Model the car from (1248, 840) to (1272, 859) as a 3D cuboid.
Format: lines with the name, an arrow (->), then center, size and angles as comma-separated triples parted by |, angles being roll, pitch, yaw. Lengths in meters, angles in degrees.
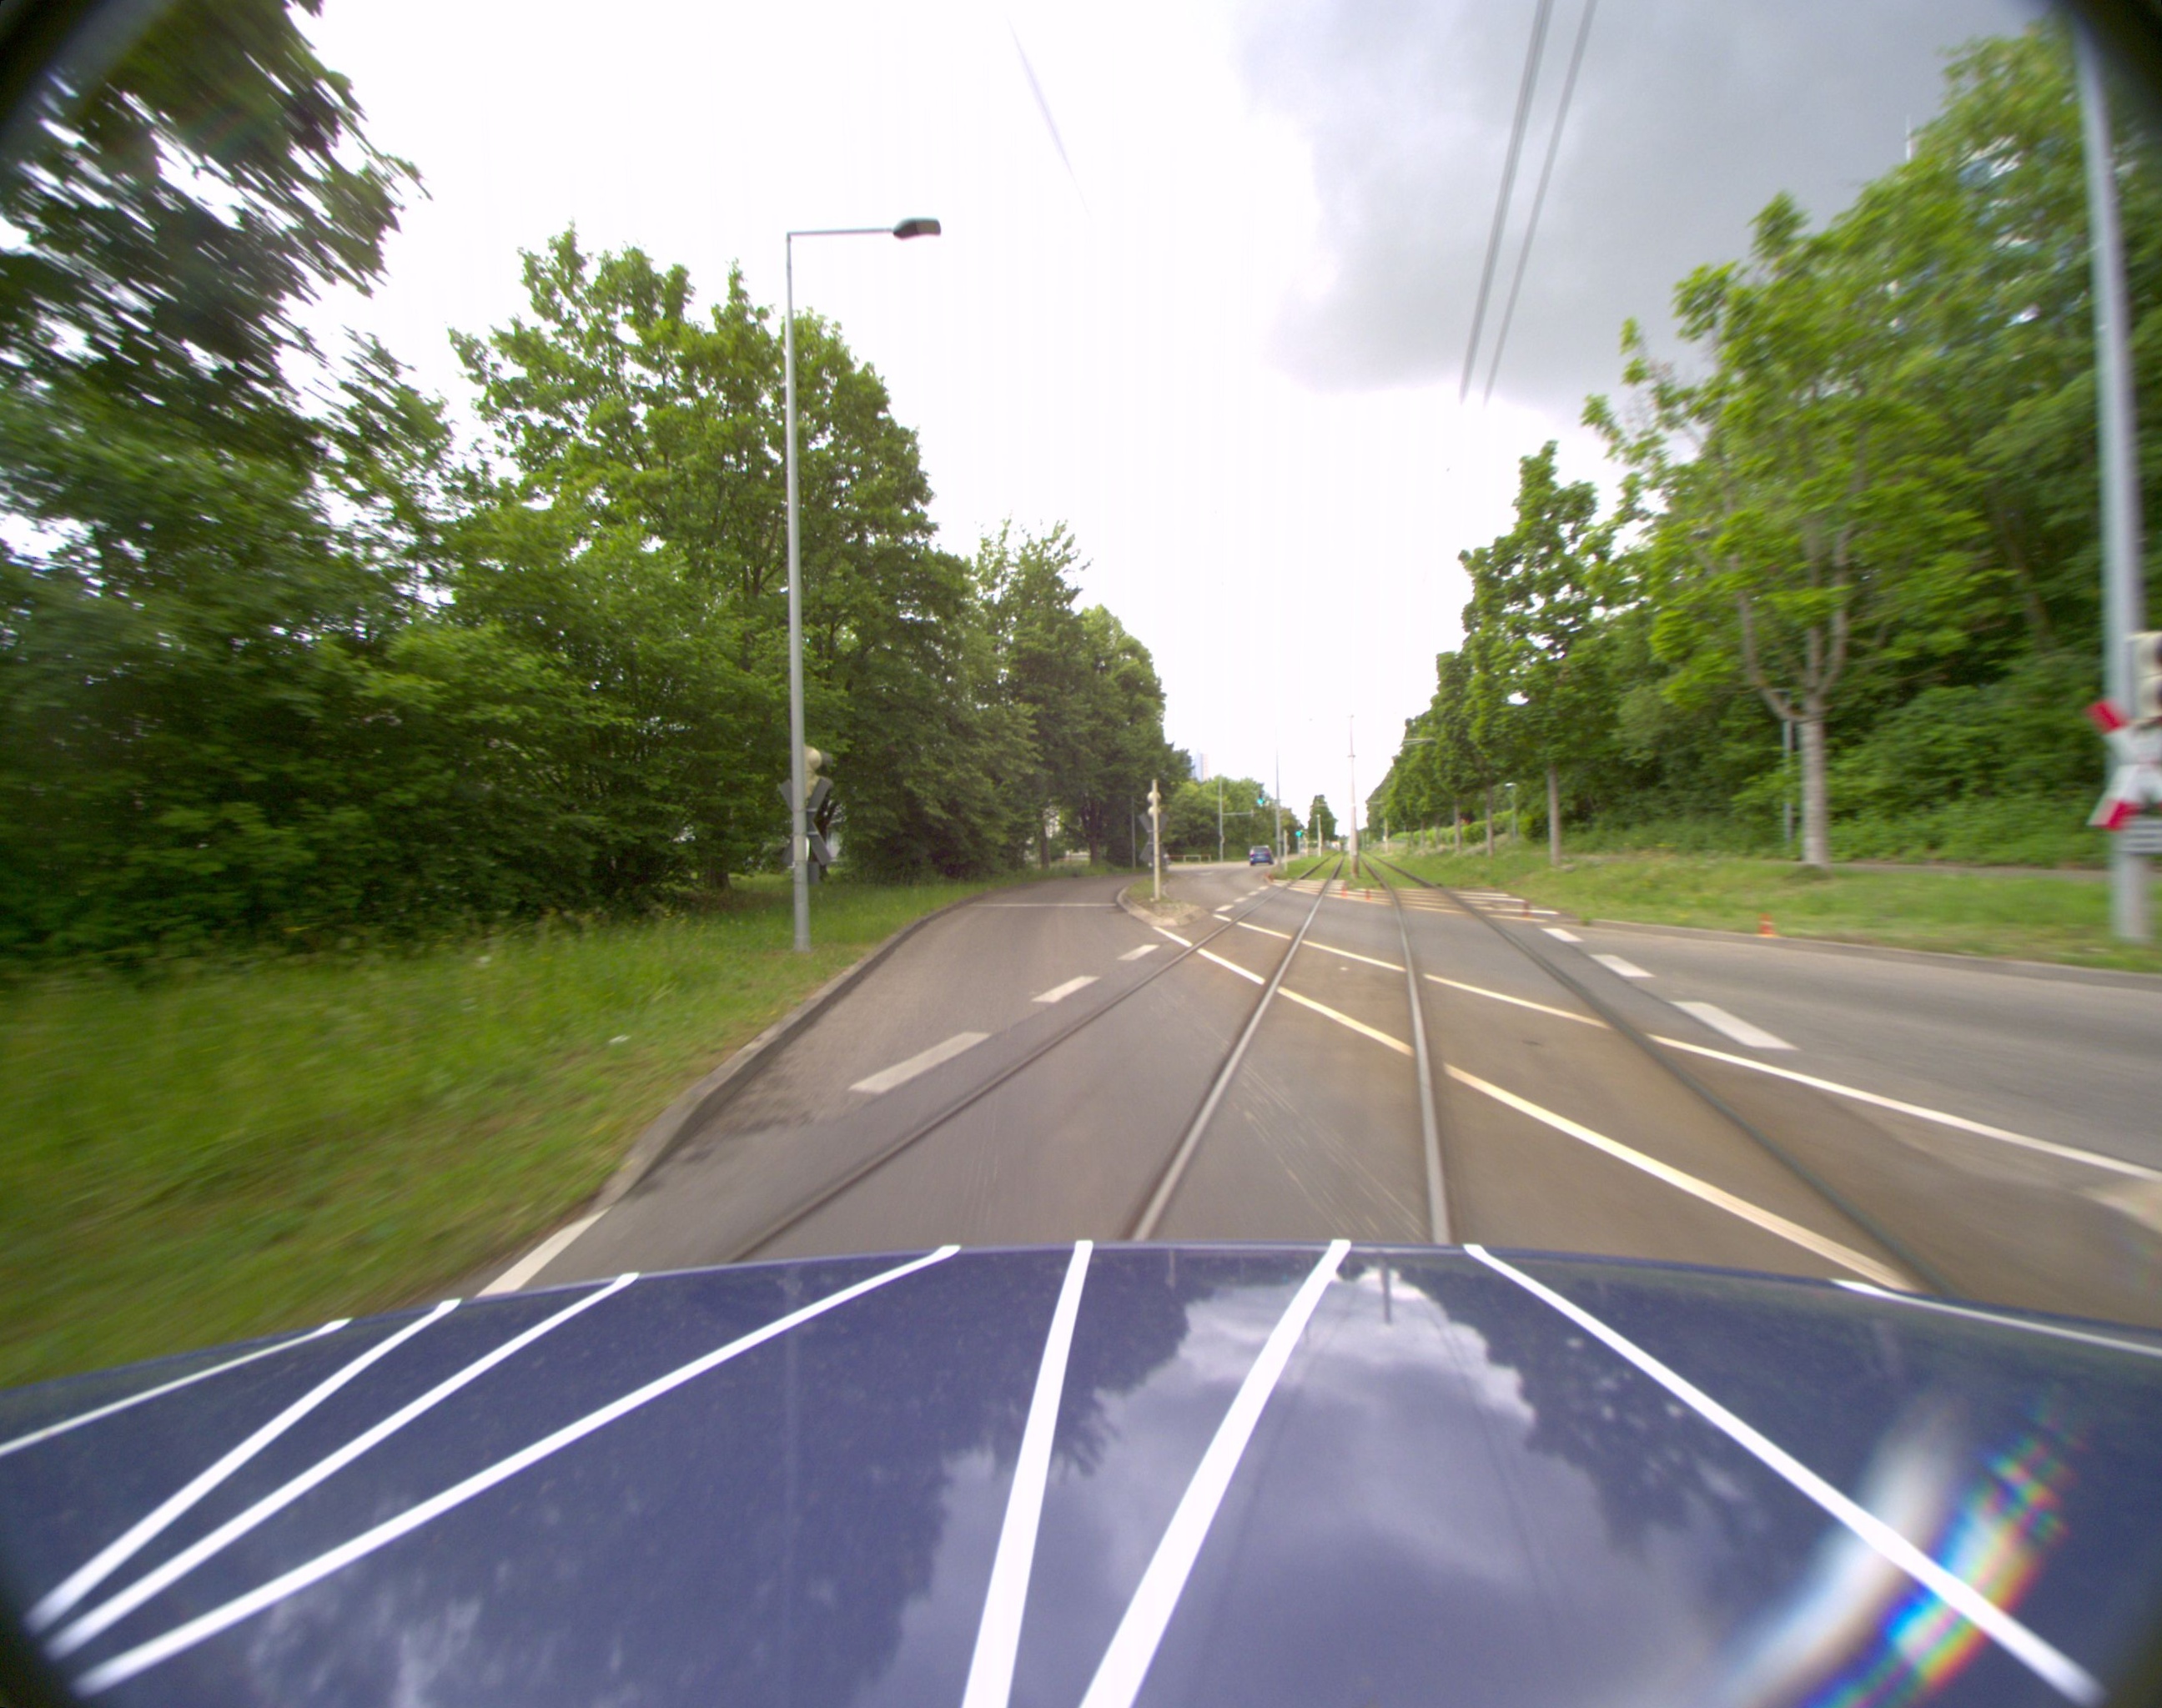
car -> 15.341, -0.367, 65.095 | 1.870, 1.512, 4.243 | -2, 0, 14
